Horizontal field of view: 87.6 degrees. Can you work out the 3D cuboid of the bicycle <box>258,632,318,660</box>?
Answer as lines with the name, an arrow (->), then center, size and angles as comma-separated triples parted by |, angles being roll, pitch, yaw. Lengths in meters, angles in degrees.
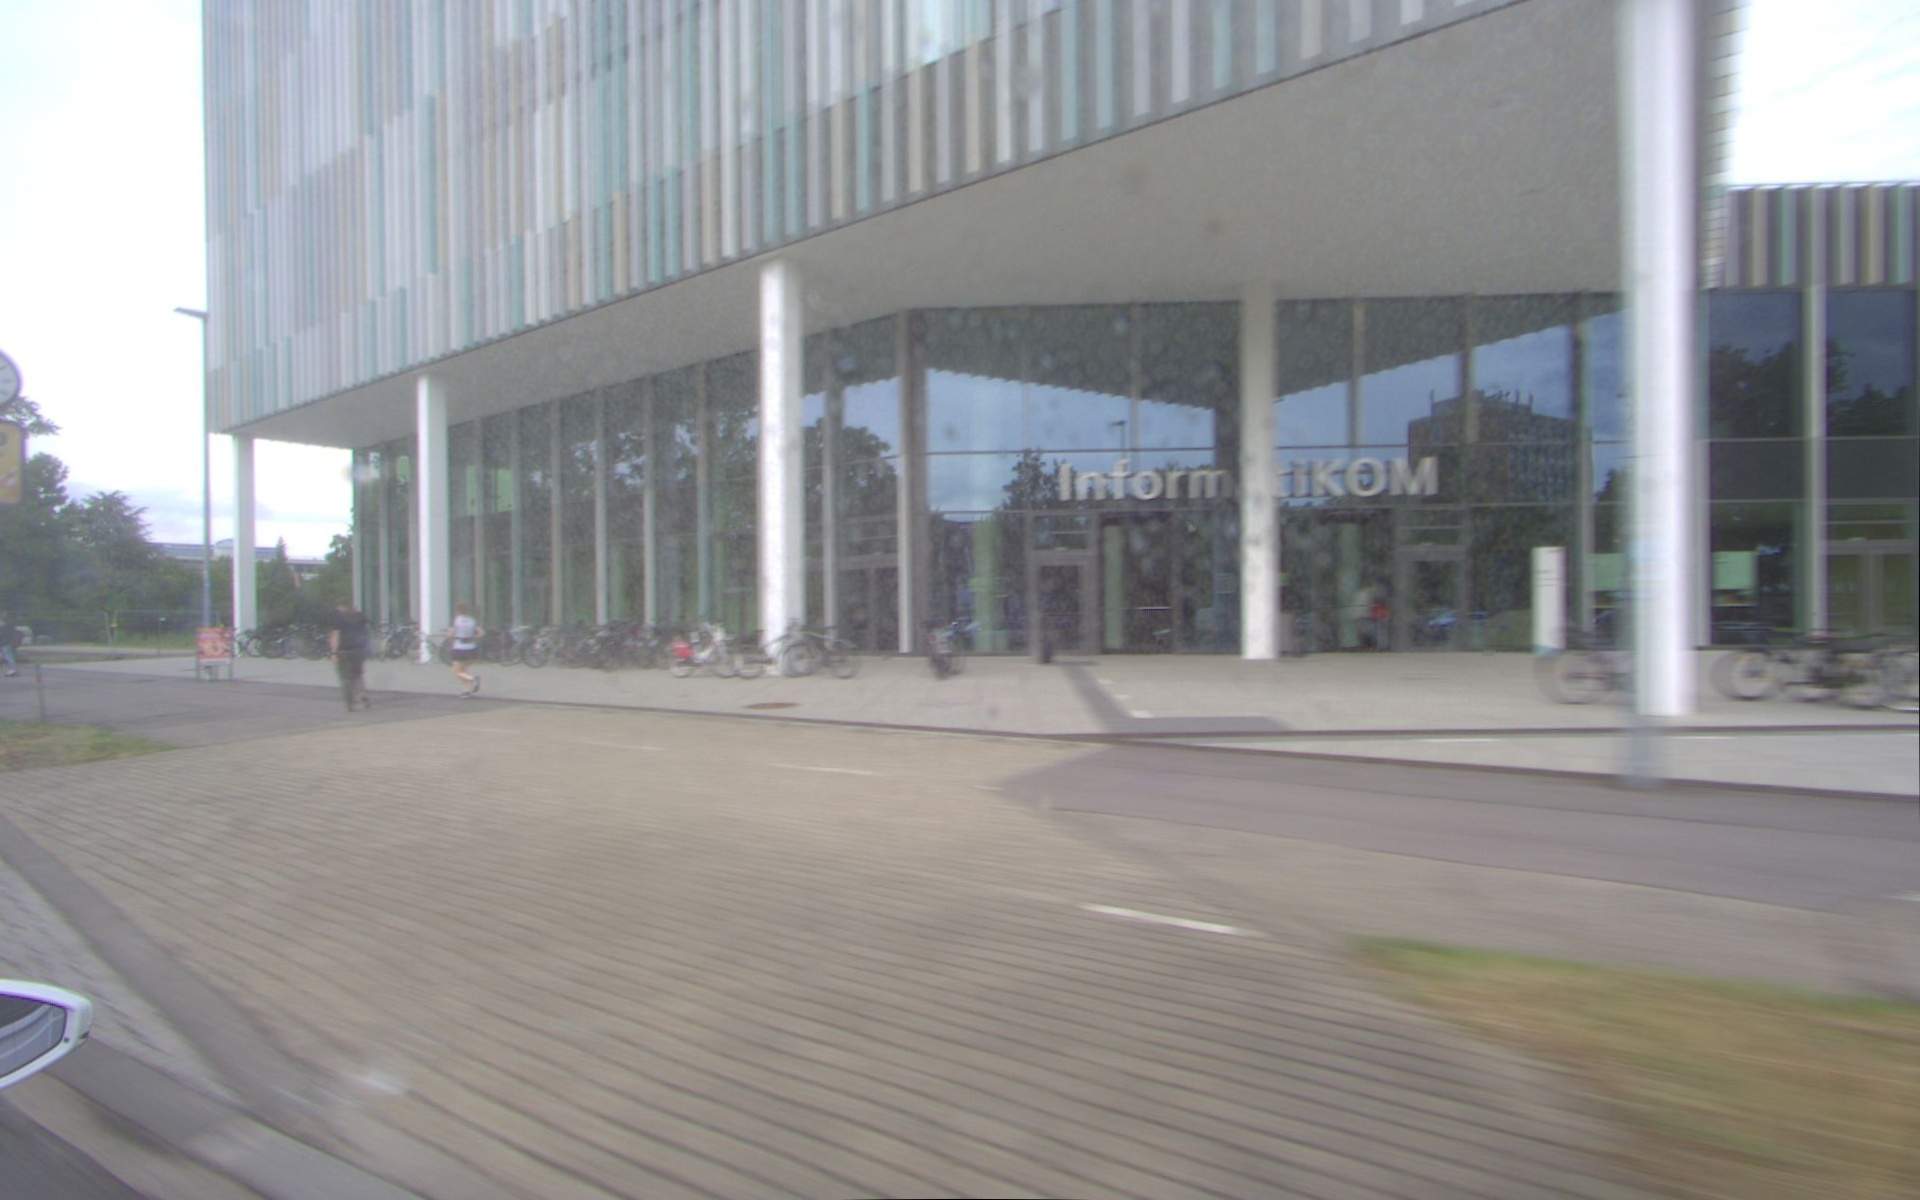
bicycle -> -23.071, 1.573, 34.402 | 0.549, 0.886, 1.600 | -1, 0, 37

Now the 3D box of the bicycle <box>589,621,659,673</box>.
bicycle -> -7.452, 1.024, 22.254 | 0.552, 1.057, 1.394 | -1, 1, 37

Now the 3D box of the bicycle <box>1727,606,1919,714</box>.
bicycle -> 10.213, 0.646, 11.665 | 0.722, 1.130, 2.183 | -1, -1, -6

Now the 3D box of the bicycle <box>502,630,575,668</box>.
bicycle -> -10.456, 1.199, 24.873 | 0.549, 0.886, 1.600 | -1, 0, 37

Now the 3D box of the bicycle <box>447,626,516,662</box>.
bicycle -> -13.351, 1.225, 27.980 | 0.511, 0.959, 1.682 | -1, -1, 43

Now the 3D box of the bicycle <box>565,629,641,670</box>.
bicycle -> -8.240, 1.120, 23.158 | 0.549, 0.886, 1.600 | -1, 0, 37

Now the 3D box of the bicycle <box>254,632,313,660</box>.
bicycle -> -23.492, 1.582, 34.807 | 0.549, 0.886, 1.600 | -1, 0, 37

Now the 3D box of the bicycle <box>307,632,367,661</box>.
bicycle -> -20.378, 1.513, 32.795 | 0.509, 0.896, 1.598 | -1, -1, 36

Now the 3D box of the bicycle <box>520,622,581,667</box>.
bicycle -> -9.954, 1.072, 24.377 | 0.543, 1.021, 1.236 | -1, 0, 41

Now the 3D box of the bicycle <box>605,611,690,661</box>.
bicycle -> -7.905, 0.895, 25.404 | 1.951, 1.160, 0.647 | -2, 2, -13

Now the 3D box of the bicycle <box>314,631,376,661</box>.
bicycle -> -19.927, 1.495, 32.463 | 0.549, 0.886, 1.600 | -1, 0, 37

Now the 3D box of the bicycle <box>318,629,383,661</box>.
bicycle -> -18.659, 1.364, 30.664 | 0.549, 0.886, 1.600 | -1, 0, 37

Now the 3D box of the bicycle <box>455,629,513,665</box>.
bicycle -> -12.704, 1.252, 26.725 | 0.549, 0.886, 1.278 | -1, 0, 37

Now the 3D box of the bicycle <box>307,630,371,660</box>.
bicycle -> -19.416, 1.397, 31.350 | 0.549, 0.886, 1.600 | -1, 0, 37

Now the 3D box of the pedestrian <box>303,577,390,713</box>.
pedestrian -> -9.608, 0.686, 15.685 | 0.883, 2.041, 0.839 | -1, 2, 38

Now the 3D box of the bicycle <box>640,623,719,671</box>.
bicycle -> -6.259, 1.026, 22.386 | 1.594, 0.949, 0.563 | -3, 3, -43

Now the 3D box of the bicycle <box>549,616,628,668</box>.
bicycle -> -8.868, 0.994, 23.950 | 0.566, 1.106, 1.633 | -1, 2, 45

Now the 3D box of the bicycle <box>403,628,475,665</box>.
bicycle -> -13.799, 1.215, 26.567 | 0.549, 0.886, 1.600 | -1, 0, 37

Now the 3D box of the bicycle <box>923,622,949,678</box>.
bicycle -> -0.443, 0.885, 18.087 | 0.432, 0.942, 1.488 | 0, 0, -2

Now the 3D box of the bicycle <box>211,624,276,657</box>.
bicycle -> -25.984, 1.464, 36.347 | 0.618, 1.096, 1.788 | -1, 2, 35

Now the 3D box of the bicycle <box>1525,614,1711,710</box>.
bicycle -> 7.953, 0.735, 12.163 | 1.820, 1.075, 0.635 | -2, -3, 41

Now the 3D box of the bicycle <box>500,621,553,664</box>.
bicycle -> -11.514, 1.117, 26.613 | 0.430, 1.063, 1.191 | -1, 0, 43

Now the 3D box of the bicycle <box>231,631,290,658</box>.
bicycle -> -24.478, 1.553, 35.070 | 0.549, 0.886, 1.600 | -1, 0, 37

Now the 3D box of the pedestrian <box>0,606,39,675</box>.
pedestrian -> -28.270, 1.201, 29.997 | 0.883, 2.040, 0.839 | -1, 0, 37

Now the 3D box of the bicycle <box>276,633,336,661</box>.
bicycle -> -22.166, 1.584, 33.940 | 0.549, 0.886, 1.600 | -1, 0, 37

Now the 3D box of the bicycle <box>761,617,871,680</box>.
bicycle -> -2.634, 0.876, 18.244 | 1.931, 1.094, 0.607 | -1, 2, 25

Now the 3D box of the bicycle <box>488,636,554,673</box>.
bicycle -> -11.548, 1.414, 26.370 | 0.362, 0.908, 1.600 | -1, -1, 37

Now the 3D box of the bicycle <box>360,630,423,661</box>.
bicycle -> -16.864, 1.337, 29.729 | 0.549, 0.845, 1.527 | -1, 0, 37

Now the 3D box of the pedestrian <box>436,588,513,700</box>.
pedestrian -> -8.323, 0.738, 17.174 | 0.882, 1.860, 0.840 | -1, 0, 35

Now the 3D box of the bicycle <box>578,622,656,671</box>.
bicycle -> -7.782, 1.042, 22.785 | 0.549, 0.996, 1.600 | -1, 2, 37

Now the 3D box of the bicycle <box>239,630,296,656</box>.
bicycle -> -24.857, 1.536, 35.977 | 0.548, 0.886, 1.603 | -1, -1, 33

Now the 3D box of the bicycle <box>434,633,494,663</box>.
bicycle -> -13.949, 1.343, 28.186 | 0.549, 0.755, 1.429 | -1, 0, 37

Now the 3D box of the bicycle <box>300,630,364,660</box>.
bicycle -> -19.873, 1.408, 31.702 | 0.549, 0.886, 1.600 | -1, 0, 37

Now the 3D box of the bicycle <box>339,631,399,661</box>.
bicycle -> -17.987, 1.393, 30.506 | 0.549, 0.850, 1.449 | -1, 0, 37

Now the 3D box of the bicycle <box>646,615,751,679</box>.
bicycle -> -5.108, 0.906, 19.491 | 2.170, 1.156, 0.634 | -2, 2, 33

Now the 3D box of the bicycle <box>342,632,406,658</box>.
bicycle -> -17.525, 1.338, 29.949 | 0.549, 0.726, 1.554 | -1, 0, 37

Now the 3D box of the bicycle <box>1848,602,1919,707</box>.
bicycle -> 11.476, 0.618, 11.049 | 0.759, 1.203, 2.720 | -1, -1, -5

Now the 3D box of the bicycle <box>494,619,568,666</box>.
bicycle -> -10.966, 1.075, 25.631 | 0.565, 1.117, 1.636 | -1, 1, 39

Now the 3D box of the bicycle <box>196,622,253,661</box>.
bicycle -> -27.429, 1.539, 37.342 | 1.634, 1.351, 0.459 | -3, 2, -41

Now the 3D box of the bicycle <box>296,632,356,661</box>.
bicycle -> -21.121, 1.550, 33.380 | 0.549, 0.886, 1.600 | -1, 0, 37
